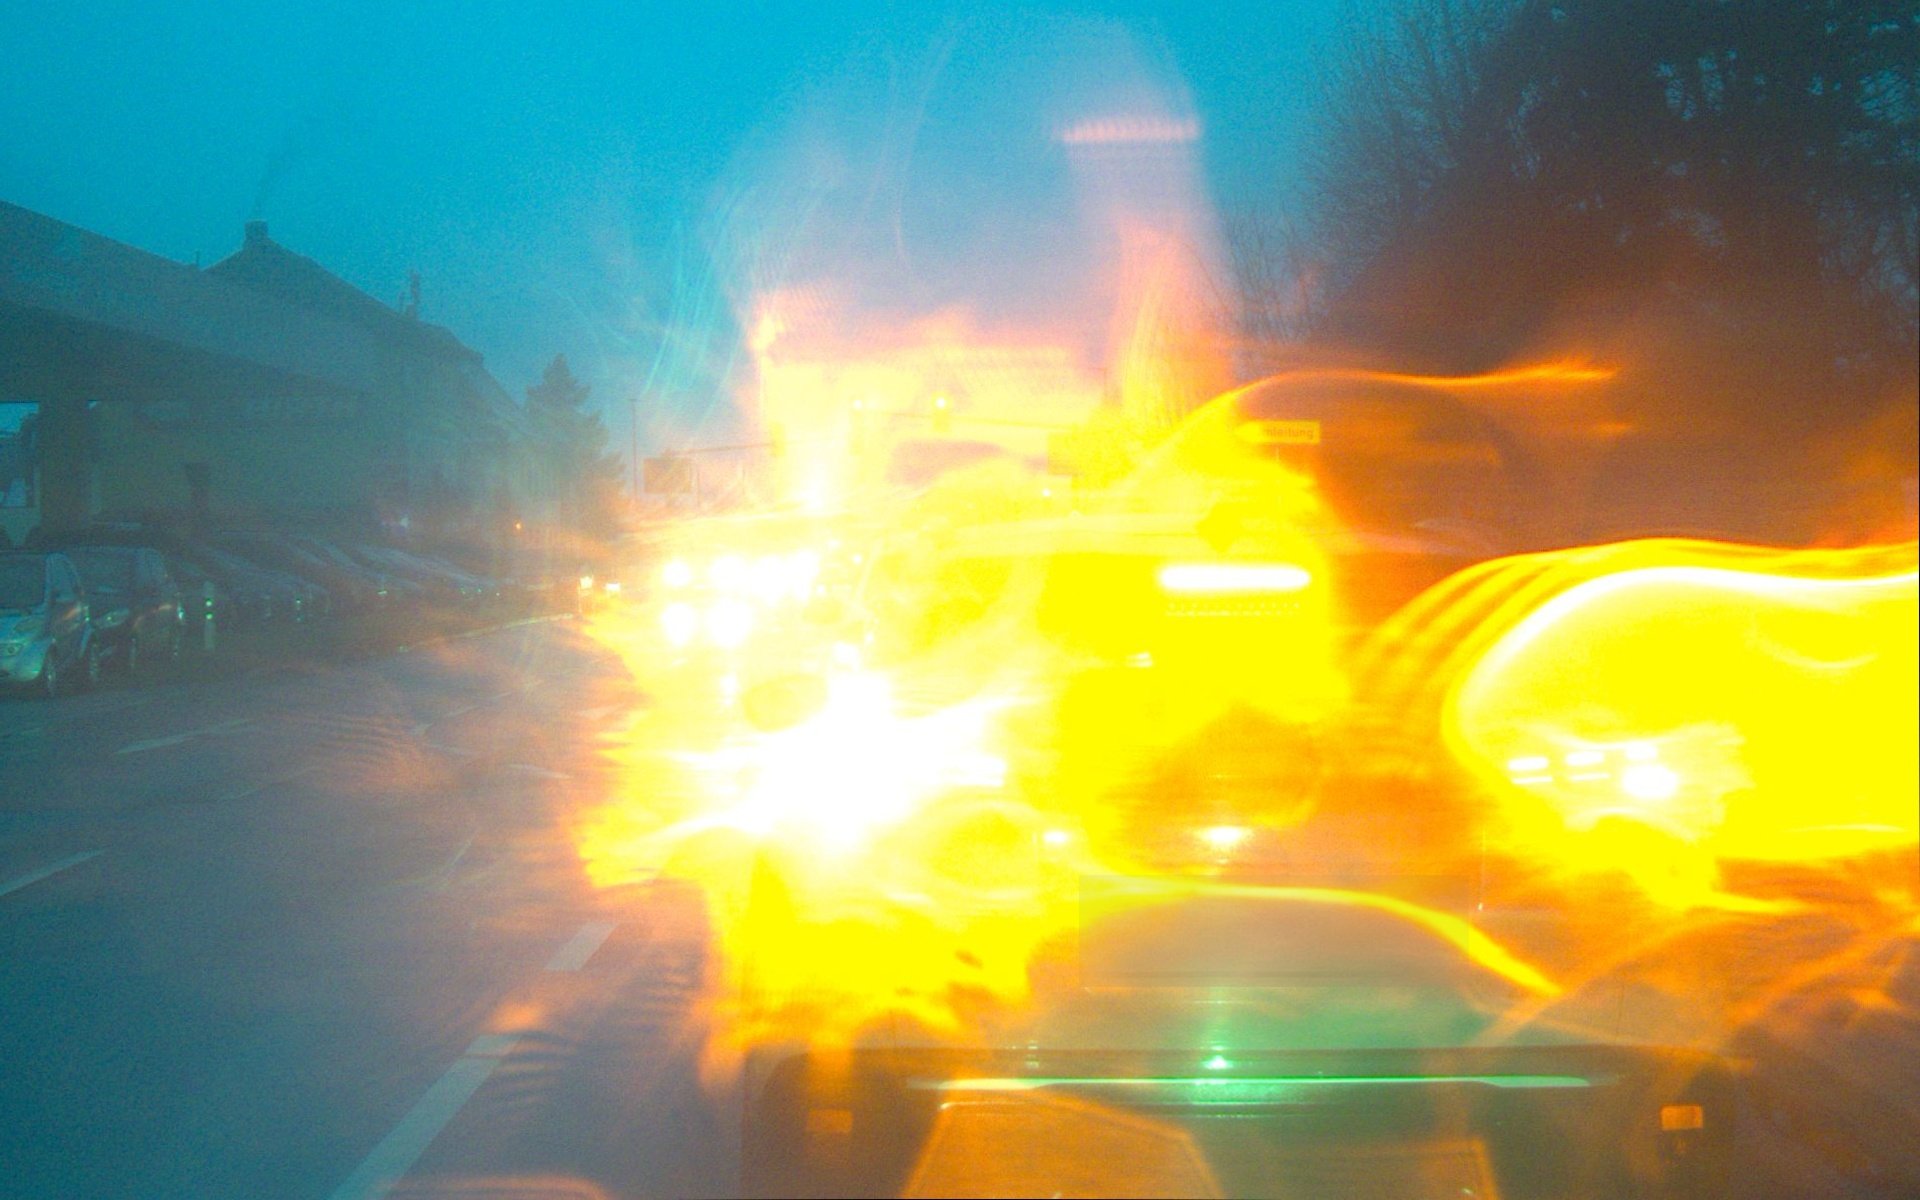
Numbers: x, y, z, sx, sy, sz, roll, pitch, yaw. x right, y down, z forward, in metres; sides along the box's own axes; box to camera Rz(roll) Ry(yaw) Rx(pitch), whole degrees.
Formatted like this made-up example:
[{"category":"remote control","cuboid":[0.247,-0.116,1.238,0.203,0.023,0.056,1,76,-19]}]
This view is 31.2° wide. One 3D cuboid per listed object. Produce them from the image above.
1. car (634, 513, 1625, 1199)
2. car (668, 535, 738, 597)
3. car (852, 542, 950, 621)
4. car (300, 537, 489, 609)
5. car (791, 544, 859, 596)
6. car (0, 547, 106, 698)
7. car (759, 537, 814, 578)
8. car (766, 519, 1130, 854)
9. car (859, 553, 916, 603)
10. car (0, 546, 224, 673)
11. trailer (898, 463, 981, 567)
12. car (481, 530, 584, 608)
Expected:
[{"category":"car","cuboid":[0.260,0.591,7.449,1.565,1.524,4.007,0,1,0]},{"category":"car","cuboid":[-6.881,-0.930,92.248,1.603,1.529,4.000,-3,1,-1]},{"category":"car","cuboid":[-1.027,-0.352,60.984,1.653,1.331,4.272,-1,1,-1]},{"category":"car","cuboid":[-13.884,-0.675,84.603,4.276,1.621,2.000,2,1,0]},{"category":"car","cuboid":[-4.369,-0.985,110.588,2.047,1.567,4.704,-2,1,-3]},{"category":"car","cuboid":[-10.336,0.229,37.039,1.518,1.537,3.015,-2,1,-1]},{"category":"car","cuboid":[-7.743,-1.916,153.736,1.994,1.740,4.000,-2,1,3]},{"category":"car","cuboid":[-0.067,0.367,18.588,1.708,1.570,4.464,-1,1,0]},{"category":"car","cuboid":[-2.124,-0.660,101.044,1.662,1.434,4.382,0,1,-1]},{"category":"car","cuboid":[-10.157,0.079,41.422,1.682,1.416,3.740,-1,1,1]},{"category":"trailer","cuboid":[-0.735,-2.699,112.120,2.488,3.229,10.869,0,1,-1]},{"category":"car","cuboid":[-10.540,-0.792,85.084,1.970,1.824,4.513,-2,1,-1]}]
